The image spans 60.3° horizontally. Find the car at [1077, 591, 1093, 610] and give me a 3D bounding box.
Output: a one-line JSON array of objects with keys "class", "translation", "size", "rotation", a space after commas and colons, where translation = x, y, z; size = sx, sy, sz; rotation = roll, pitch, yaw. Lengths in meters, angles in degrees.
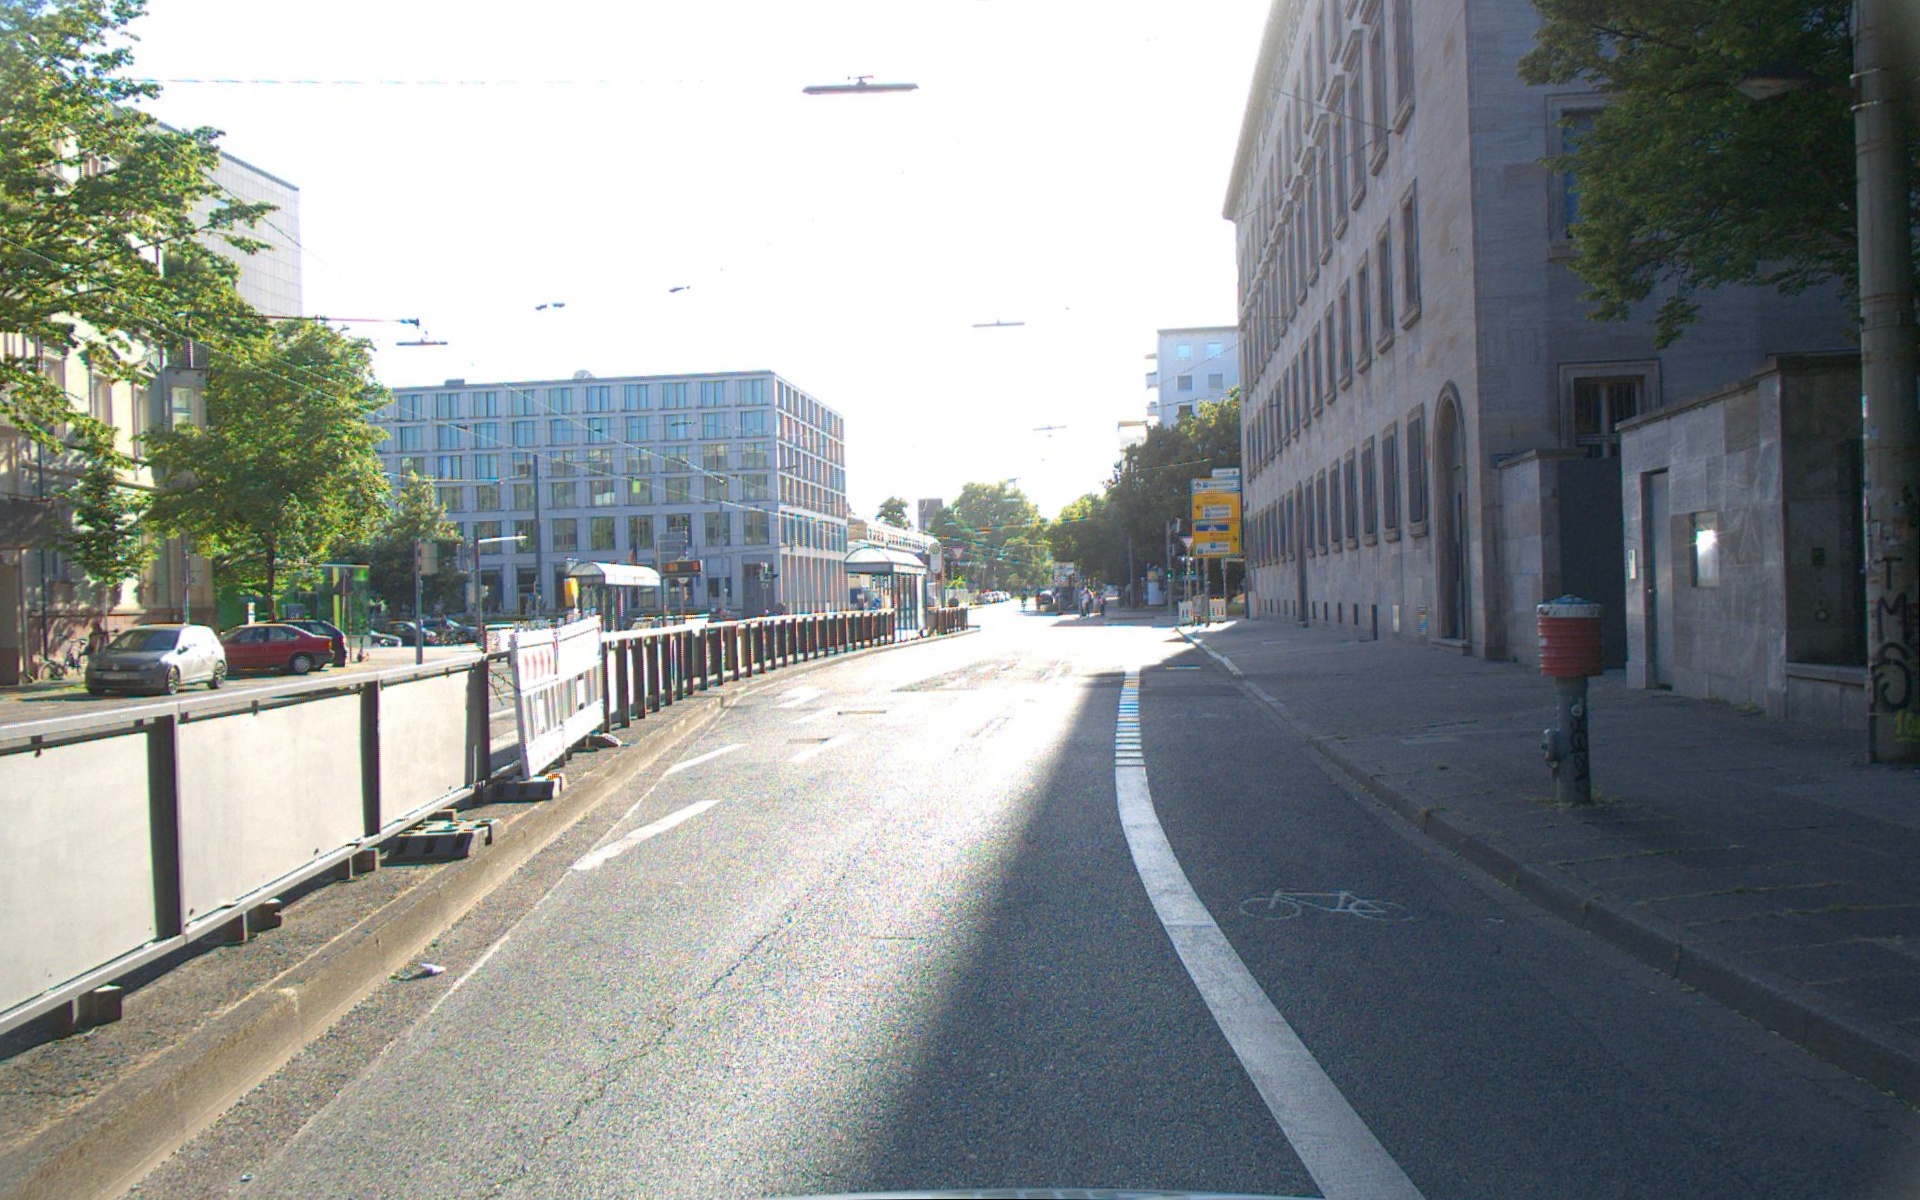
[{"class": "car", "translation": [13.532, 0.089, 178.907], "size": [1.648, 1.996, 3.511], "rotation": [0, -1, 6]}]

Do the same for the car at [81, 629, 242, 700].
[{"class": "car", "translation": [-17.781, 1.389, 37.040], "size": [1.672, 1.435, 4.290], "rotation": [0, 0, -3]}]

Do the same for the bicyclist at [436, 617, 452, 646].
[{"class": "bicyclist", "translation": [-29.019, 1.771, 92.944], "size": [0.605, 1.610, 0.594], "rotation": [-2, 0, 9]}]

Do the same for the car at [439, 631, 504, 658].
[{"class": "car", "translation": [-29.493, 2.689, 99.885], "size": [3.456, 1.532, 1.523], "rotation": [-1, 0, 4]}]

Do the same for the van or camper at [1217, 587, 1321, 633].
[{"class": "van or camper", "translation": [20.190, 0.670, 108.233], "size": [6.565, 2.912, 2.913], "rotation": [0, -1, 11]}]

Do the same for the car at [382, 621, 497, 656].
[{"class": "car", "translation": [-21.889, 1.609, 69.623], "size": [4.446, 1.374, 1.576], "rotation": [0, -1, -27]}]

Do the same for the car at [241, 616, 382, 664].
[{"class": "car", "translation": [-22.521, 1.362, 57.485], "size": [4.446, 1.597, 1.576], "rotation": [0, -1, -27]}]

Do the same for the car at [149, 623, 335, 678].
[{"class": "car", "translation": [-20.072, 1.389, 46.317], "size": [4.474, 1.450, 1.846], "rotation": [0, -2, -41]}]

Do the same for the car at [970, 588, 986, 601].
[{"class": "car", "translation": [2.537, -0.807, 229.014], "size": [1.781, 1.742, 3.808], "rotation": [-2, 0, 6]}]

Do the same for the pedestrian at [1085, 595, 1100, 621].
[{"class": "pedestrian", "translation": [9.508, 0.580, 118.469], "size": [0.832, 1.815, 0.778], "rotation": [-2, 0, -10]}]

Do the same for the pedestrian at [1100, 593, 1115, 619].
[{"class": "pedestrian", "translation": [10.428, 0.416, 116.994], "size": [0.832, 1.815, 0.778], "rotation": [-2, 0, -10]}]

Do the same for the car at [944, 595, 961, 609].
[{"class": "car", "translation": [-1.005, 0.292, 217.465], "size": [1.781, 1.742, 3.808], "rotation": [-2, 0, 6]}]

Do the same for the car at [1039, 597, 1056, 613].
[{"class": "car", "translation": [9.799, 0.563, 185.078], "size": [1.648, 1.768, 3.511], "rotation": [0, -1, 6]}]

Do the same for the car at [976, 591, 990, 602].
[{"class": "car", "translation": [3.287, -0.477, 232.909], "size": [1.575, 1.524, 3.808], "rotation": [-2, 0, 6]}]

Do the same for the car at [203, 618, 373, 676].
[{"class": "car", "translation": [-20.036, 1.380, 49.423], "size": [4.472, 1.670, 1.567], "rotation": [0, -2, -40]}]

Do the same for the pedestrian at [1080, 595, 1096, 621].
[{"class": "pedestrian", "translation": [9.007, 0.553, 116.361], "size": [0.948, 1.815, 0.778], "rotation": [-2, 0, -10]}]

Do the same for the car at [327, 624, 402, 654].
[{"class": "car", "translation": [-32.423, 2.098, 90.099], "size": [3.456, 1.532, 1.523], "rotation": [-1, 0, 4]}]

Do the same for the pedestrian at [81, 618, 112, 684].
[{"class": "pedestrian", "translation": [-22.580, 1.325, 43.253], "size": [0.500, 1.701, 0.490], "rotation": [-2, 0, -1]}]

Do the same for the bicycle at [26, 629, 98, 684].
[{"class": "bicycle", "translation": [-24.727, 1.536, 45.607], "size": [0.703, 1.422, 3.005], "rotation": [-2, 0, -8]}]

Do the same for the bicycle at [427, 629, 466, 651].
[{"class": "bicycle", "translation": [-28.848, 2.252, 92.895], "size": [1.882, 1.142, 0.791], "rotation": [-2, 0, 9]}]
